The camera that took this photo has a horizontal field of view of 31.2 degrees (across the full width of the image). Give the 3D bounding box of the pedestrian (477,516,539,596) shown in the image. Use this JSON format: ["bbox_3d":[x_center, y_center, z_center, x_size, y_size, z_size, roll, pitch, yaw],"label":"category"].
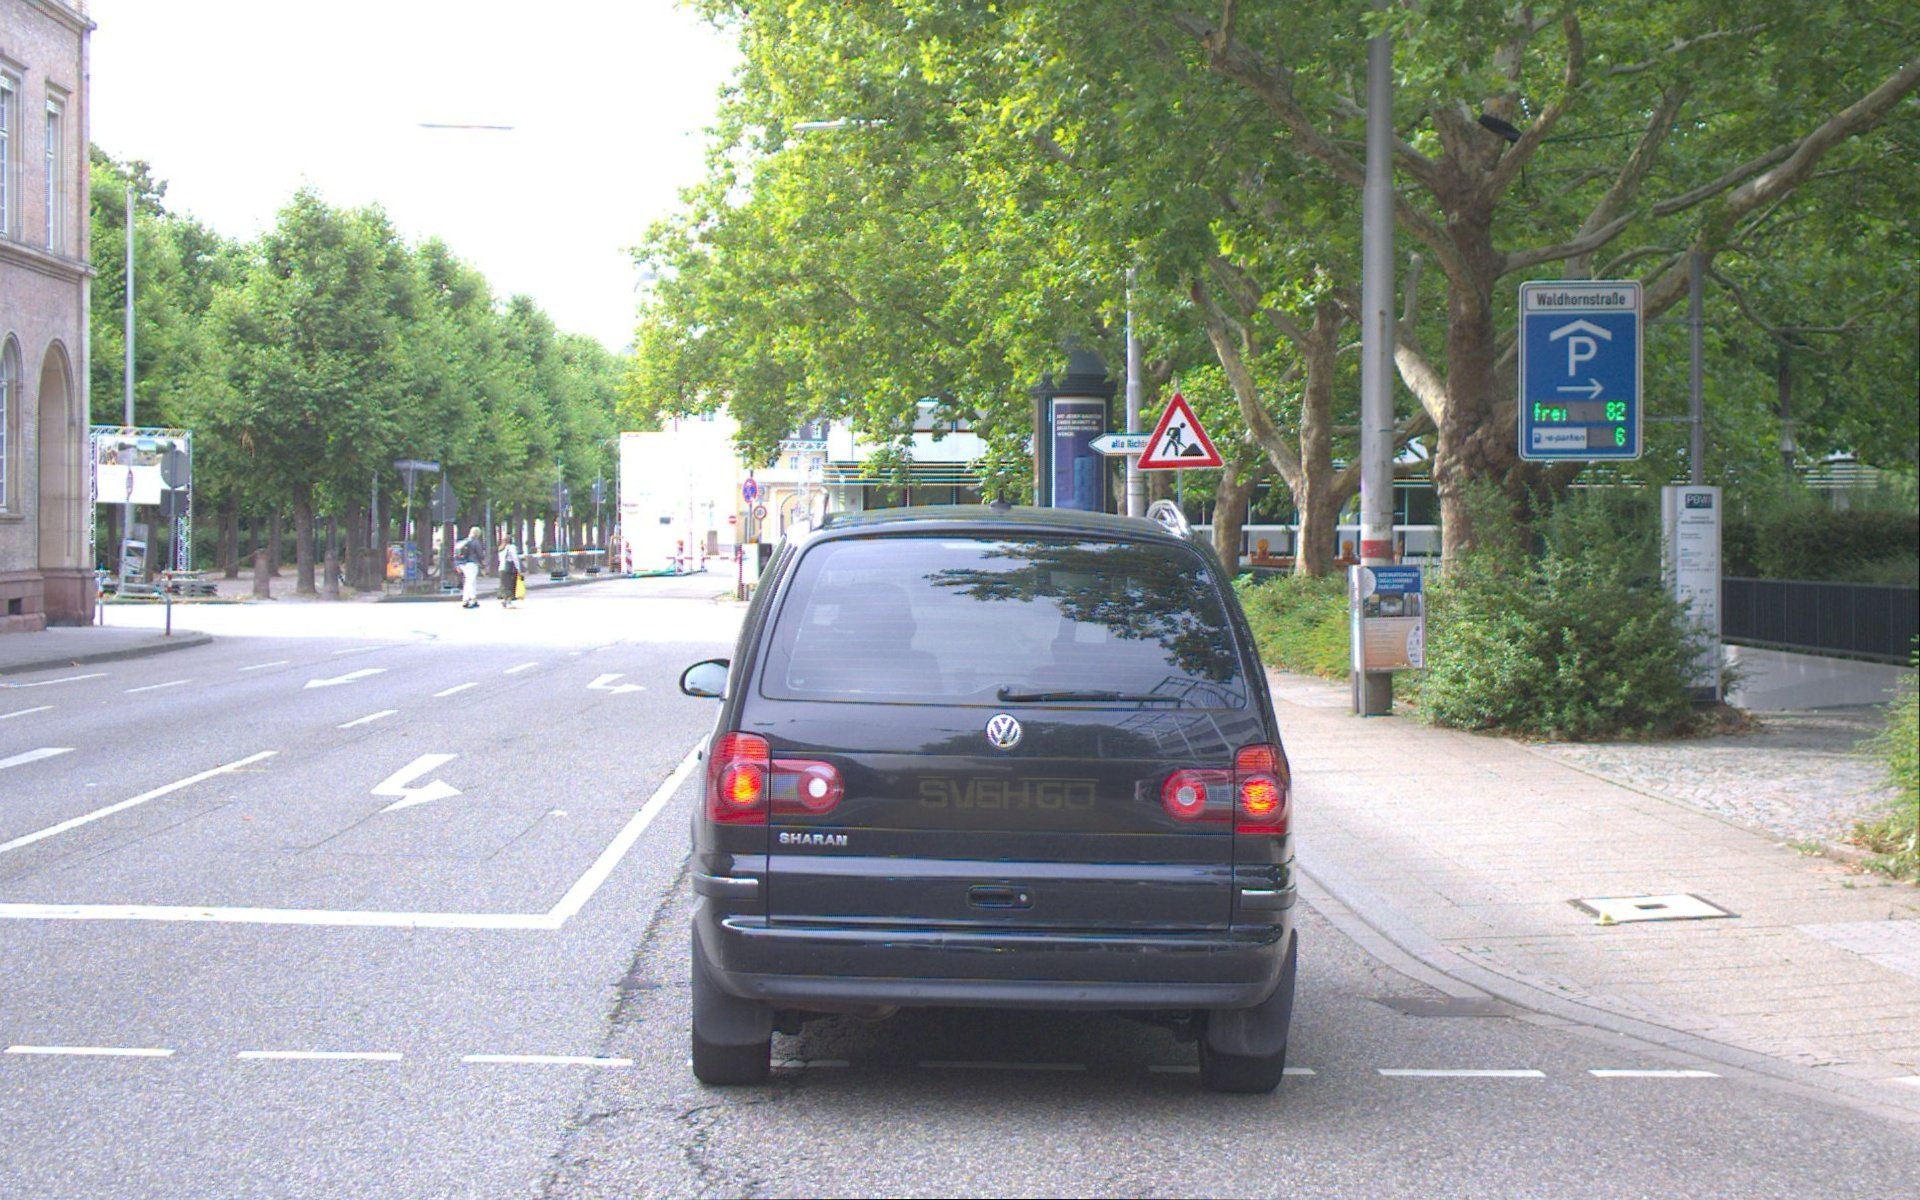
[{"bbox_3d":[-9.450,-0.914,71.819,0.898,1.635,0.851,3,2,34],"label":"pedestrian"}]

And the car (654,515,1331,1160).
[{"bbox_3d":[0.026,0.580,11.176,1.793,1.702,4.131,0,1,-2],"label":"car"}]

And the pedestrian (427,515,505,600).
[{"bbox_3d":[-10.344,-0.887,71.968,0.962,1.735,1.253,3,2,38],"label":"pedestrian"}]

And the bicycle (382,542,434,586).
[{"bbox_3d":[-14.813,-0.968,92.193,0.952,1.106,2.580,1,2,-19],"label":"bicycle"}]
